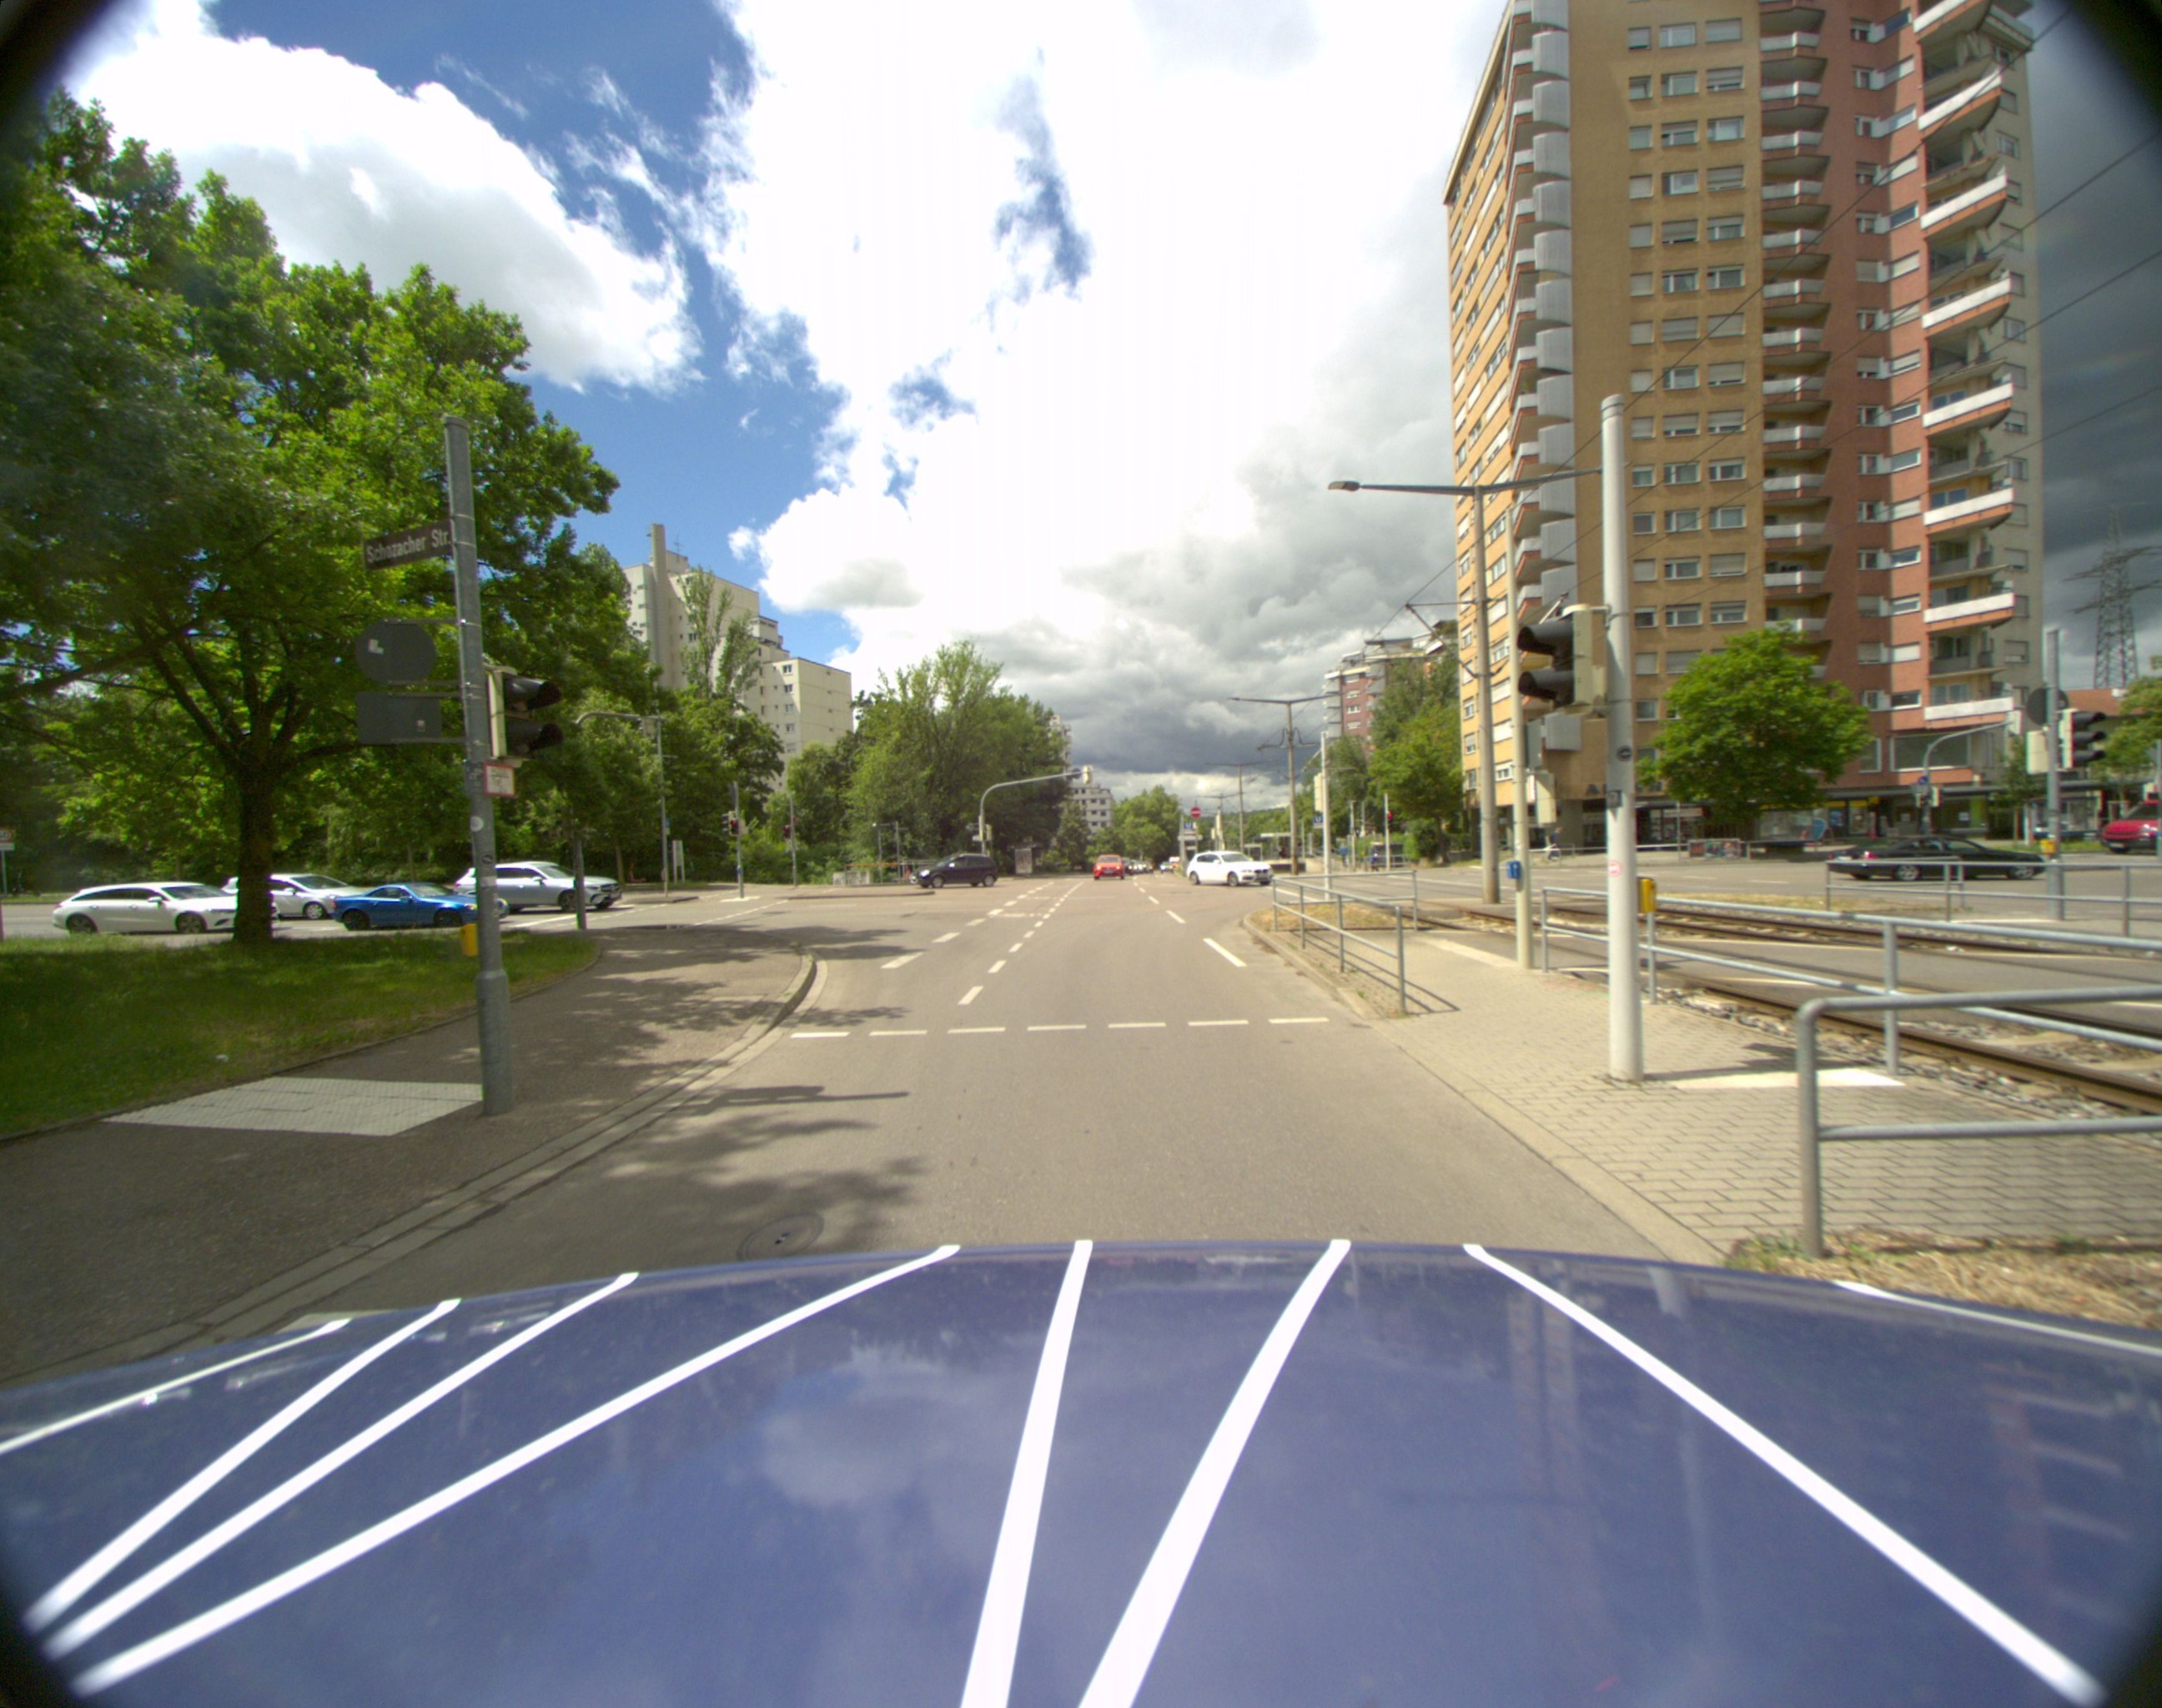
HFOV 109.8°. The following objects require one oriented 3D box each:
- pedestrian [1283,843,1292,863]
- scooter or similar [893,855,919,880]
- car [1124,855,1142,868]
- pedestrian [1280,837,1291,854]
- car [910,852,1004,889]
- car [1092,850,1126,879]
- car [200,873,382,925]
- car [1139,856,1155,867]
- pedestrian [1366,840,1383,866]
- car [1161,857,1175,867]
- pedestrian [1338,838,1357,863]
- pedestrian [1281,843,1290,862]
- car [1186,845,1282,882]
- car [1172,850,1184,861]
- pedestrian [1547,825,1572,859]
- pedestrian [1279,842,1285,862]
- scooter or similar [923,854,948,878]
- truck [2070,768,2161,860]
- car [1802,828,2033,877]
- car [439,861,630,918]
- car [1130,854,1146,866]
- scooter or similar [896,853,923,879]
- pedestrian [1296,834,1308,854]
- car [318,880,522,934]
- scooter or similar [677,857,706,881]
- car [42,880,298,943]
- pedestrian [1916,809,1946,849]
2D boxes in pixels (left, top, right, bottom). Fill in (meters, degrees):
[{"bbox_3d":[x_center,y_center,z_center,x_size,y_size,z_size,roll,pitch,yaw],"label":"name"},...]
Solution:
[{"bbox_3d":[20.928,-0.109,77.045,0.770,1.920,0.573,-1,1,3],"label":"pedestrian"},{"bbox_3d":[-8.871,0.673,38.574,1.185,1.228,0.479,-1,1,-8],"label":"scooter or similar"},{"bbox_3d":[4.929,0.692,71.843,1.605,1.208,3.773,-1,0,5],"label":"car"},{"bbox_3d":[20.054,-0.822,74.623,0.865,1.597,0.747,-1,1,5],"label":"pedestrian"},{"bbox_3d":[-5.588,0.706,34.298,3.799,1.529,1.679,-1,0,-32],"label":"car"},{"bbox_3d":[1.670,0.569,44.497,1.819,1.483,4.000,-3,1,2],"label":"car"},{"bbox_3d":[-25.337,1.415,24.486,3.897,1.405,1.607,-1,3,-4],"label":"car"},{"bbox_3d":[8.980,0.991,102.487,1.844,1.409,4.003,-1,0,9],"label":"car"},{"bbox_3d":[17.330,-0.062,44.885,0.722,1.505,0.647,-2,1,-36],"label":"pedestrian"},{"bbox_3d":[12.327,1.115,107.358,1.804,1.208,4.024,-1,0,9],"label":"car"},{"bbox_3d":[18.023,-0.259,51.391,0.910,1.588,0.721,-6,0,5],"label":"pedestrian"},{"bbox_3d":[20.974,-0.141,77.850,0.780,2.002,0.584,-1,1,5],"label":"pedestrian"},{"bbox_3d":[6.245,0.435,31.559,1.797,1.442,4.268,-1,-2,-23],"label":"car"},{"bbox_3d":[19.719,0.308,153.966,1.998,2.136,4.000,-1,0,2],"label":"car"},{"bbox_3d":[27.697,-0.681,44.005,0.920,1.923,0.853,-1,1,5],"label":"pedestrian"},{"bbox_3d":[21.572,-0.223,81.565,0.532,2.129,0.608,-1,1,9],"label":"pedestrian"},{"bbox_3d":[-7.516,0.610,39.298,1.170,1.188,0.449,-1,1,9],"label":"scooter or similar"},{"bbox_3d":[45.998,-1.663,30.950,7.089,3.653,2.549,-1,0,11],"label":"truck"},{"bbox_3d":[26.050,-0.050,23.854,4.667,1.390,1.979,-1,1,10],"label":"car"},{"bbox_3d":[-17.590,1.122,24.632,4.654,1.583,1.922,-1,3,-2],"label":"car"},{"bbox_3d":[6.177,0.672,82.209,1.605,1.208,3.773,-1,0,7],"label":"car"},{"bbox_3d":[-8.476,0.591,37.531,1.212,1.228,0.478,-1,1,-23],"label":"scooter or similar"},{"bbox_3d":[19.962,-0.894,68.630,0.865,1.763,0.747,-1,1,5],"label":"pedestrian"},{"bbox_3d":[-18.600,1.475,21.548,3.970,1.218,1.912,-1,3,-2],"label":"car"},{"bbox_3d":[-19.552,0.767,38.158,1.174,1.176,0.523,-1,1,9],"label":"scooter or similar"},{"bbox_3d":[-25.112,1.548,21.111,4.402,1.407,1.950,-1,3,-4],"label":"car"},{"bbox_3d":[38.912,-1.128,34.780,0.889,1.801,0.642,-1,1,-22],"label":"pedestrian"}]
